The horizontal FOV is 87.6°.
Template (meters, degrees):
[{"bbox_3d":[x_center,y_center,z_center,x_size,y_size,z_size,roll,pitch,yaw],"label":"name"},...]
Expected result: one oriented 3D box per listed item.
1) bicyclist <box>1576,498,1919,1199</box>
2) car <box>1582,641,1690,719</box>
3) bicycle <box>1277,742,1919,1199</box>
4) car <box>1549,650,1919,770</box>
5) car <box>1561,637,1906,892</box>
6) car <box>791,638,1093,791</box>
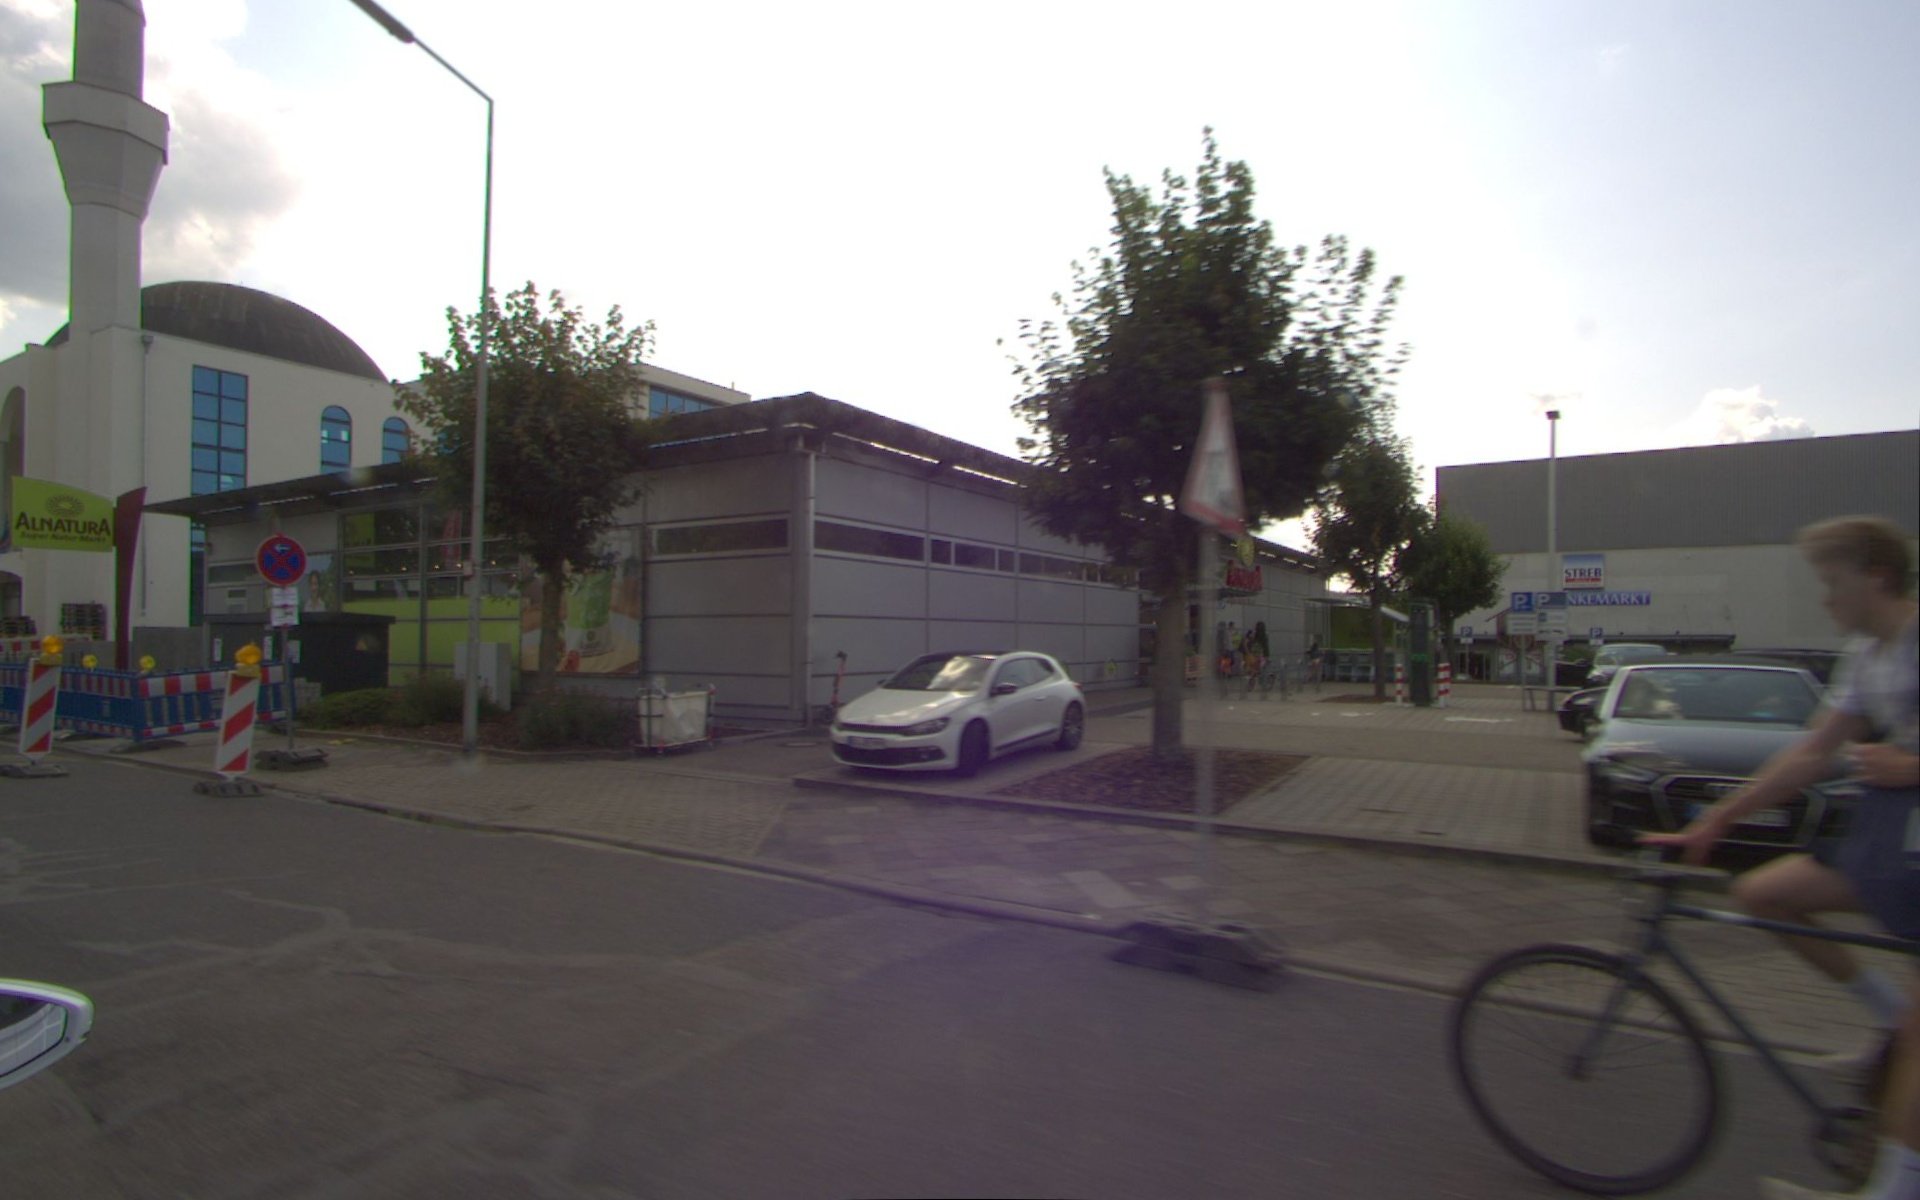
[{"bbox_3d":[2.230,0.716,2.473,1.189,1.814,0.806,-1,-4,32],"label":"bicyclist"},{"bbox_3d":[15.220,1.732,22.718,1.698,1.503,4.045,0,-1,29],"label":"car"},{"bbox_3d":[2.200,1.053,2.477,2.589,1.195,0.797,-1,-3,32],"label":"bicycle"},{"bbox_3d":[11.034,1.447,14.160,1.666,1.428,4.359,2,-4,-36],"label":"car"},{"bbox_3d":[6.237,1.067,8.216,1.784,1.449,4.165,0,-1,38],"label":"car"},{"bbox_3d":[-0.038,1.274,12.614,1.961,1.482,4.096,0,-1,31],"label":"car"}]
